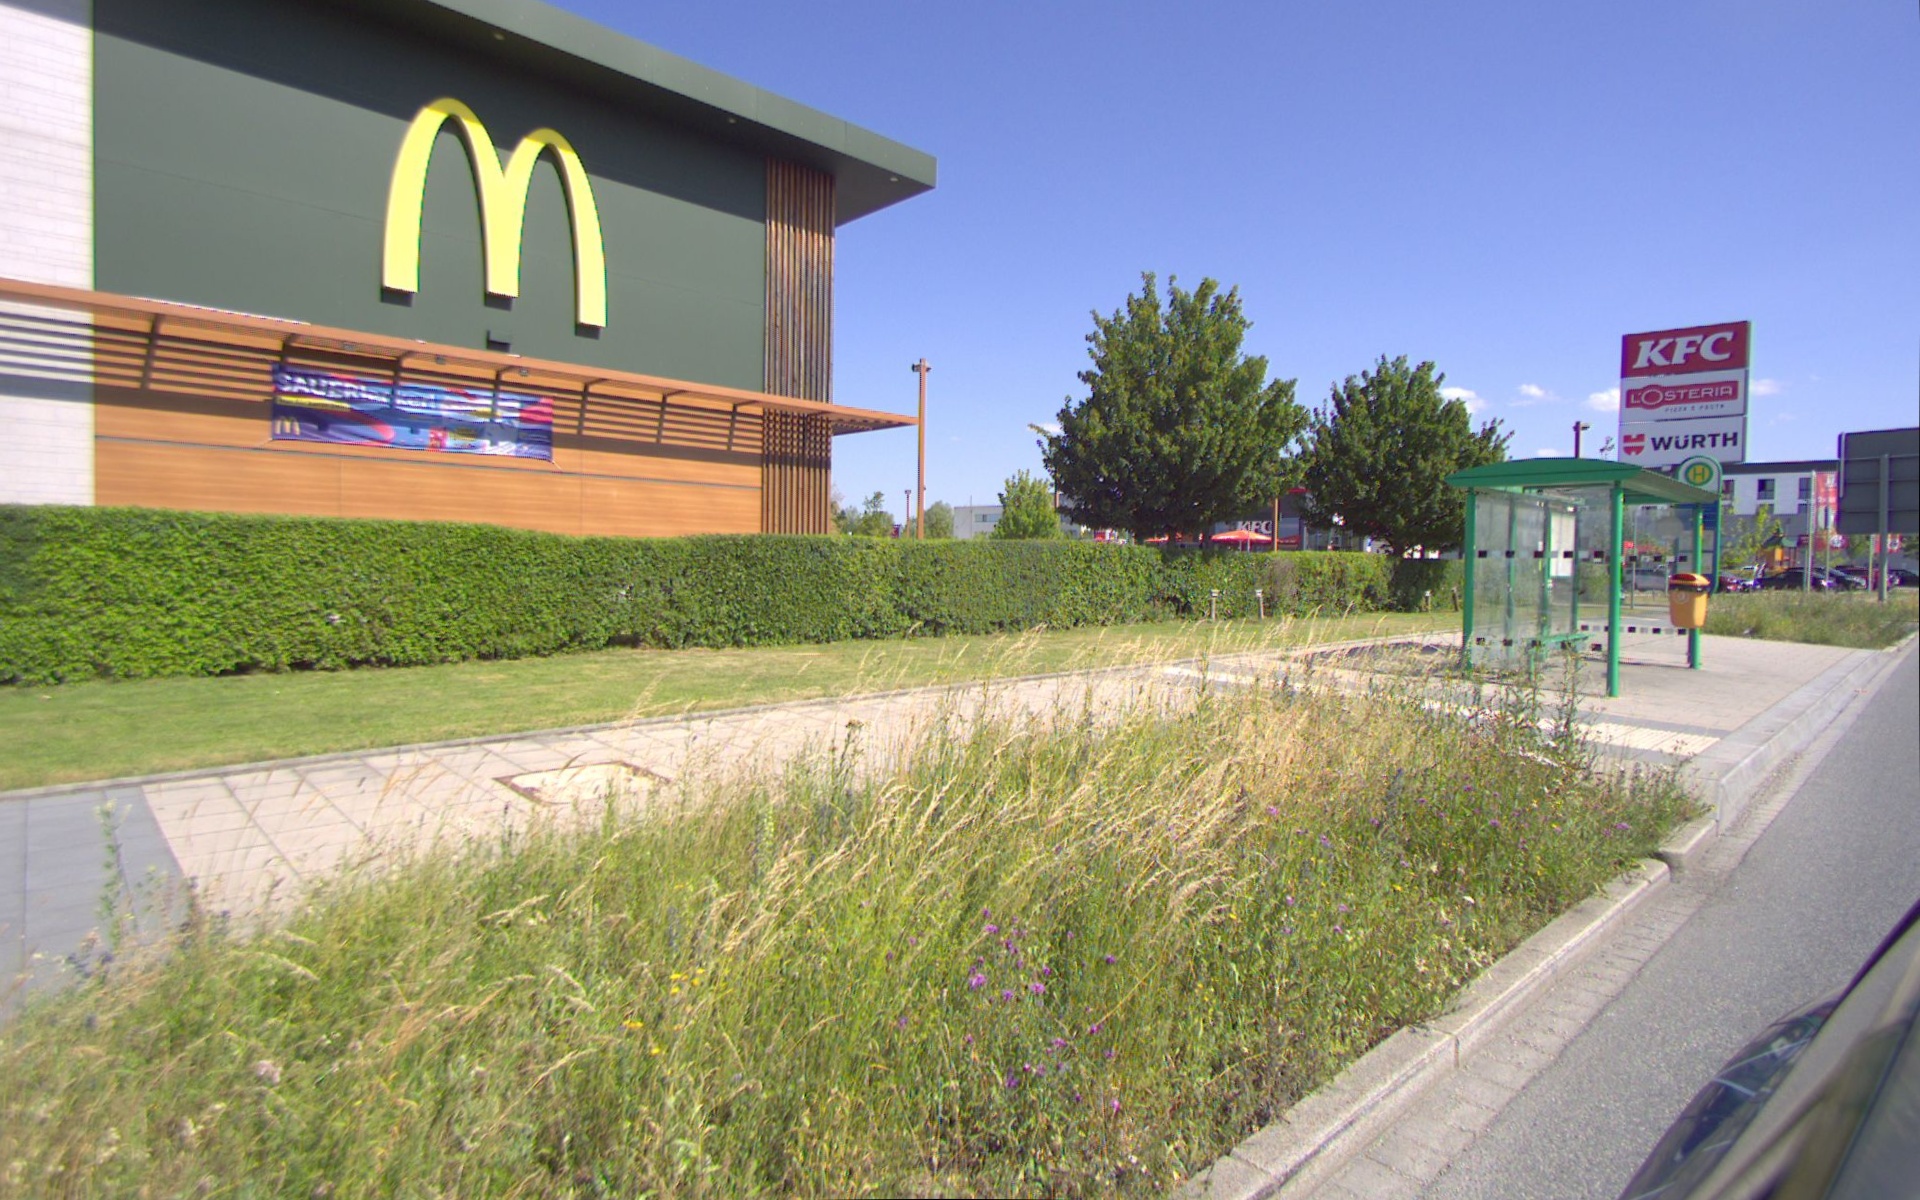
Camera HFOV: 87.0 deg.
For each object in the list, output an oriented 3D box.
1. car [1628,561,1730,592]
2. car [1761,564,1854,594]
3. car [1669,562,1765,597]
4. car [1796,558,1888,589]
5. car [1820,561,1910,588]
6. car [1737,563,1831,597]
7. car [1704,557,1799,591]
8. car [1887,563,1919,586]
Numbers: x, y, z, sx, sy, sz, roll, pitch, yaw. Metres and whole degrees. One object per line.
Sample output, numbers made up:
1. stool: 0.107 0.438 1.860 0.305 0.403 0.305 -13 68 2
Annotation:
1. car: 41.813 -1.402 58.956 1.897 1.673 4.443 -1 2 -36
2. car: 54.439 -1.381 65.107 1.766 1.880 4.196 0 2 -25
3. car: 45.804 -1.252 61.303 1.894 2.038 4.194 0 2 -28
4. car: 58.711 -1.793 67.442 1.895 2.038 4.192 0 2 -30
5. car: 61.441 -1.746 68.797 1.786 1.783 4.195 0 2 -26
6. car: 51.990 -1.308 63.915 1.894 2.038 4.194 0 2 -29
7. car: 48.741 -1.627 62.422 1.894 2.038 4.193 0 2 -29
8. car: 67.789 -1.779 70.894 1.721 1.639 3.830 0 2 -29
